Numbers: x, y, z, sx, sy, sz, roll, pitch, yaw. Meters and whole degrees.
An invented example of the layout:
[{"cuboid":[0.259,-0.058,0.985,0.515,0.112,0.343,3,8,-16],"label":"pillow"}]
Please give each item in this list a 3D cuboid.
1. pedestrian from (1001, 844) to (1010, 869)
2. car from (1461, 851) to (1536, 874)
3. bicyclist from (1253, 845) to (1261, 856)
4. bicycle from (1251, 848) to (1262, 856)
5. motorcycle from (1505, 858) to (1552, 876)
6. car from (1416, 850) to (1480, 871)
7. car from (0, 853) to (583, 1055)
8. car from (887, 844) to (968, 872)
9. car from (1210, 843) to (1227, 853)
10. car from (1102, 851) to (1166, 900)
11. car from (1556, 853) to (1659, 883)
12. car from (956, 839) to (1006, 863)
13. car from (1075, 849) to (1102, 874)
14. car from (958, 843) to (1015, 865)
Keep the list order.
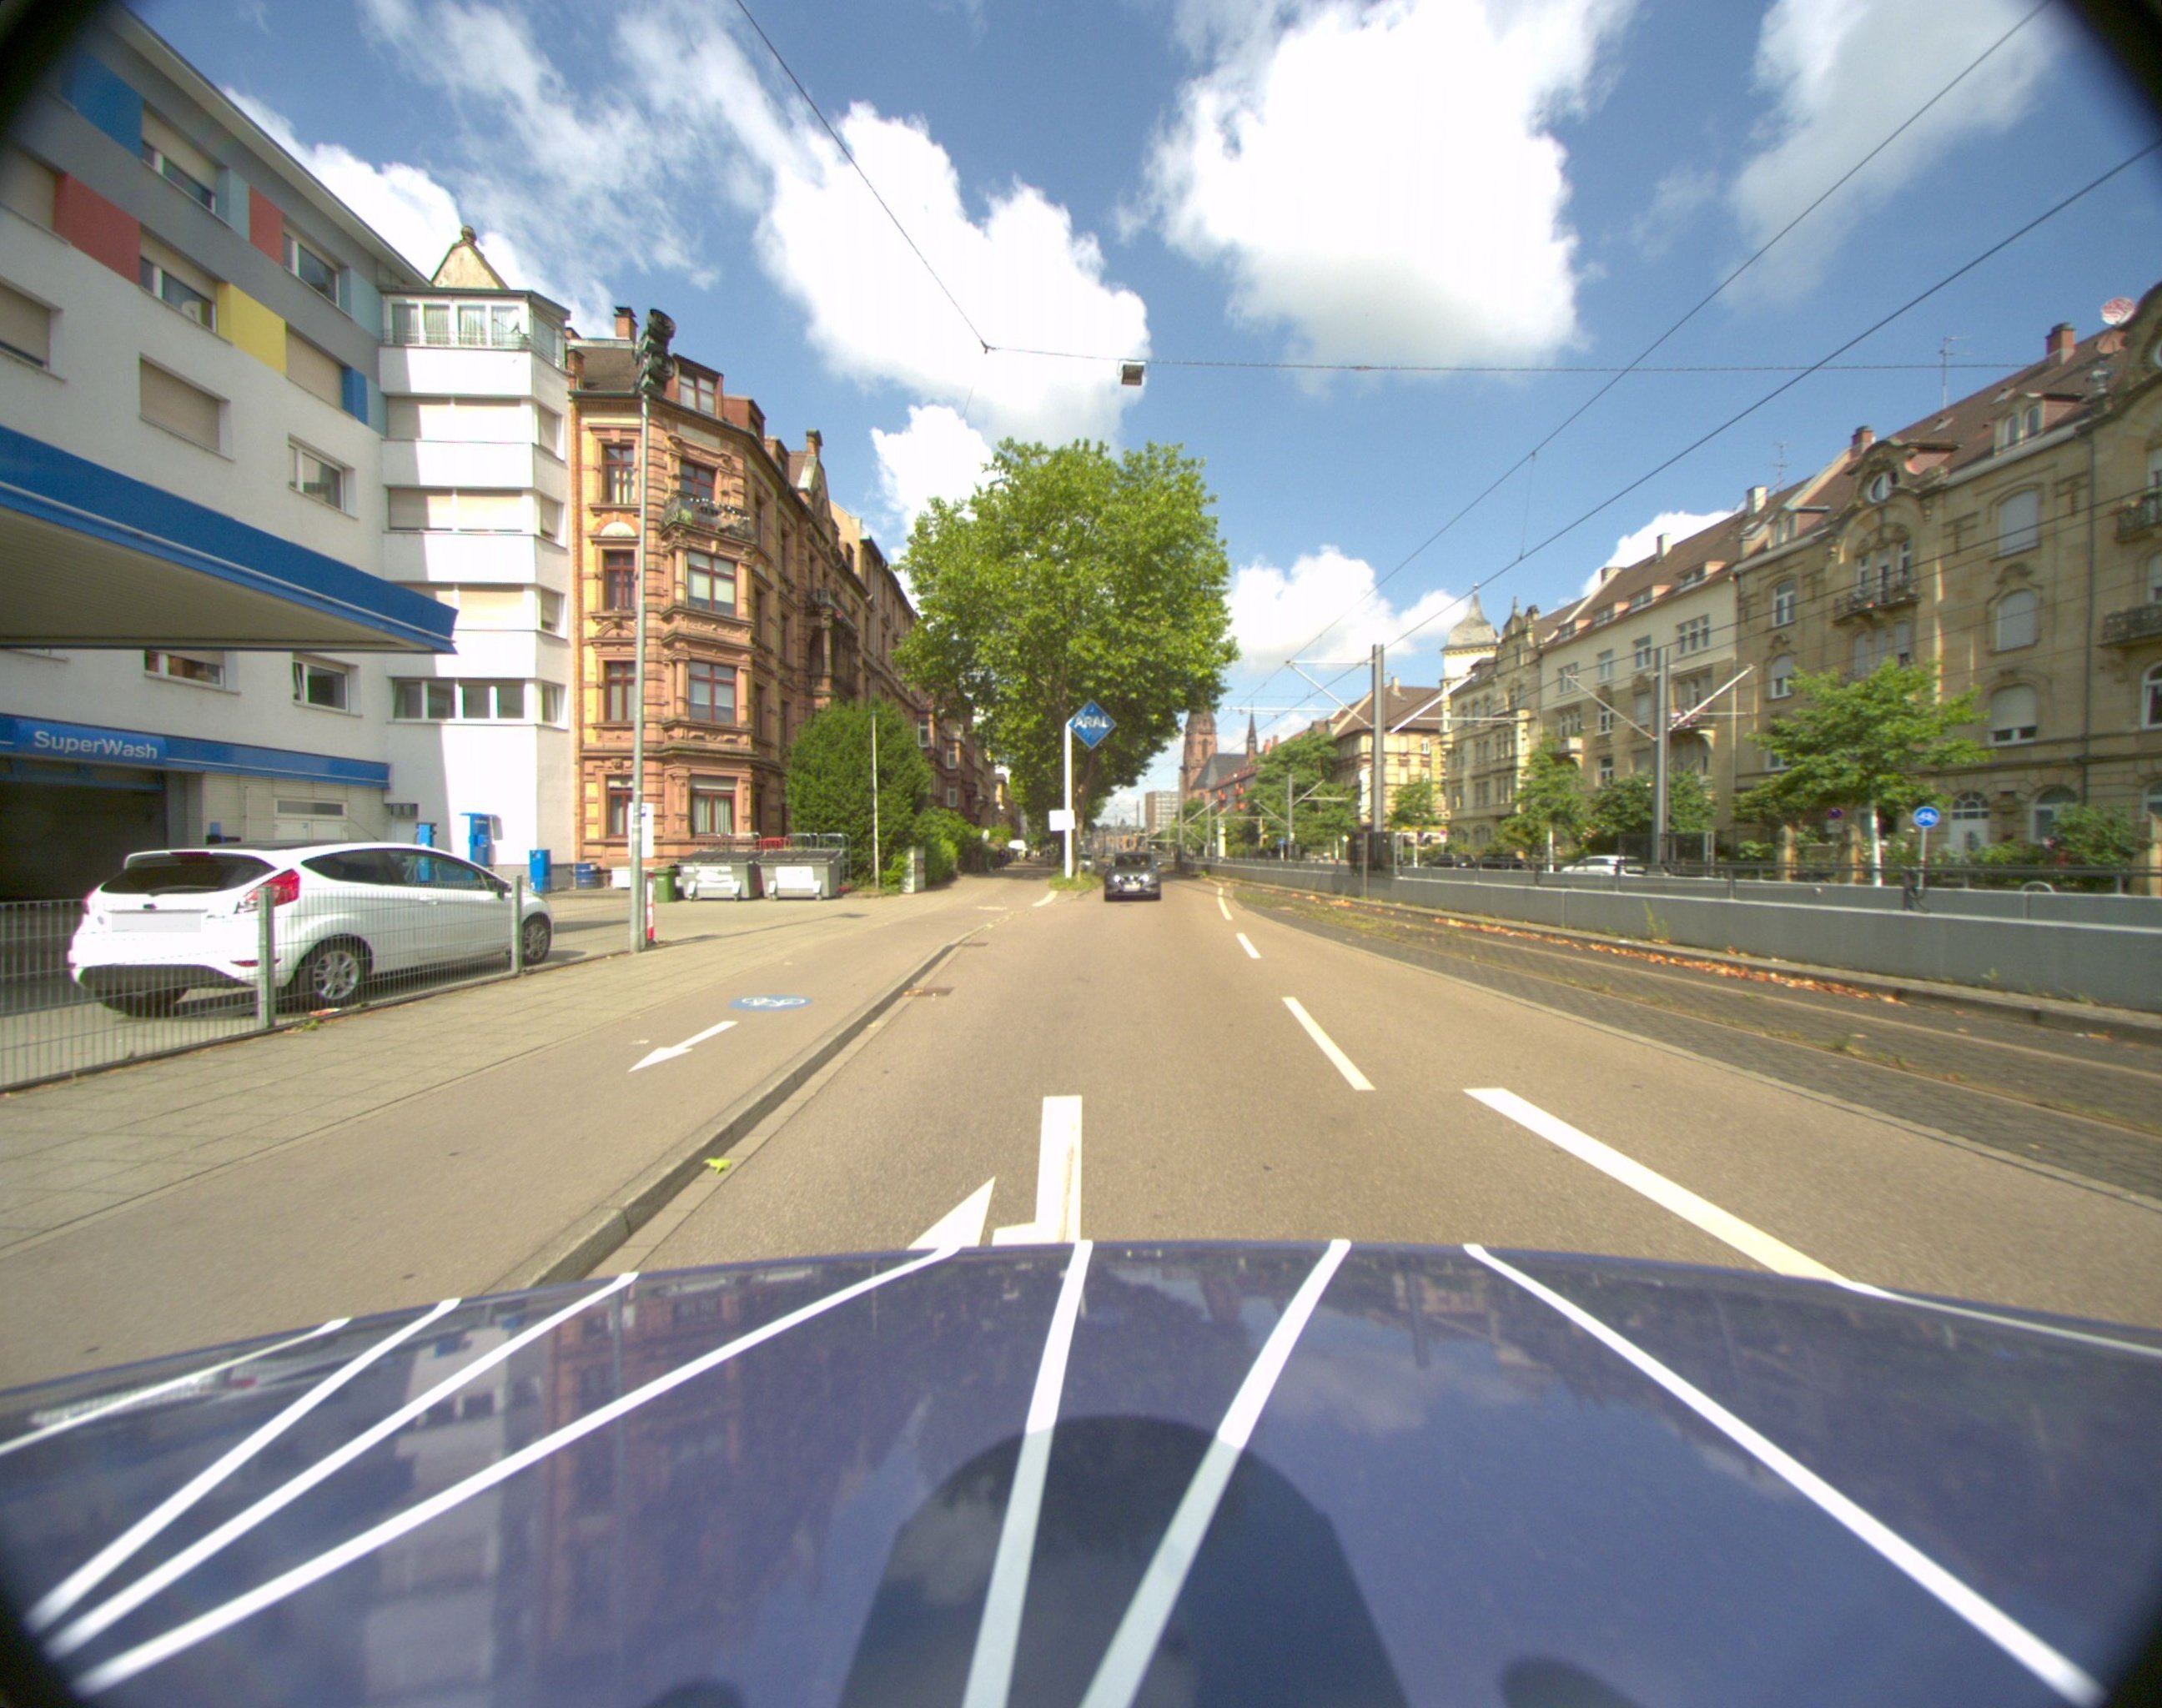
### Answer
[{"cuboid":[-5.198,0.168,52.298,0.565,1.776,0.630,0,1,-1],"label":"pedestrian"},{"cuboid":[24.902,0.483,45.477,2.025,1.319,4.099,0,0,-3],"label":"car"},{"cuboid":[22.125,-0.456,95.487,0.770,1.330,1.048,2,1,-1],"label":"bicyclist"},{"cuboid":[22.130,-0.268,95.708,0.778,0.973,2.140,2,1,-1],"label":"bicycle"},{"cuboid":[24.987,0.720,42.442,1.765,0.936,1.417,2,1,-3],"label":"motorcycle"},{"cuboid":[24.557,0.415,51.039,1.954,1.319,4.724,0,0,-1],"label":"car"},{"cuboid":[-7.195,0.737,7.636,1.810,1.447,4.000,-1,1,-2],"label":"car"},{"cuboid":[-8.770,0.226,43.675,4.245,1.461,1.941,1,1,-1],"label":"car"},{"cuboid":[22.833,-1.011,126.403,1.999,1.628,4.113,0,1,-2],"label":"car"},{"cuboid":[1.669,0.648,25.339,1.800,1.454,4.566,0,1,0],"label":"car"},{"cuboid":[25.150,0.624,36.489,1.756,1.320,4.311,0,1,-3],"label":"car"},{"cuboid":[-9.322,-0.273,70.872,4.409,1.928,1.983,3,0,-3],"label":"car"},{"cuboid":[0.447,0.461,47.995,1.558,1.477,3.857,1,1,-2],"label":"car"},{"cuboid":[-8.128,0.005,65.249,4.736,1.772,2.003,1,1,-9],"label":"car"}]
